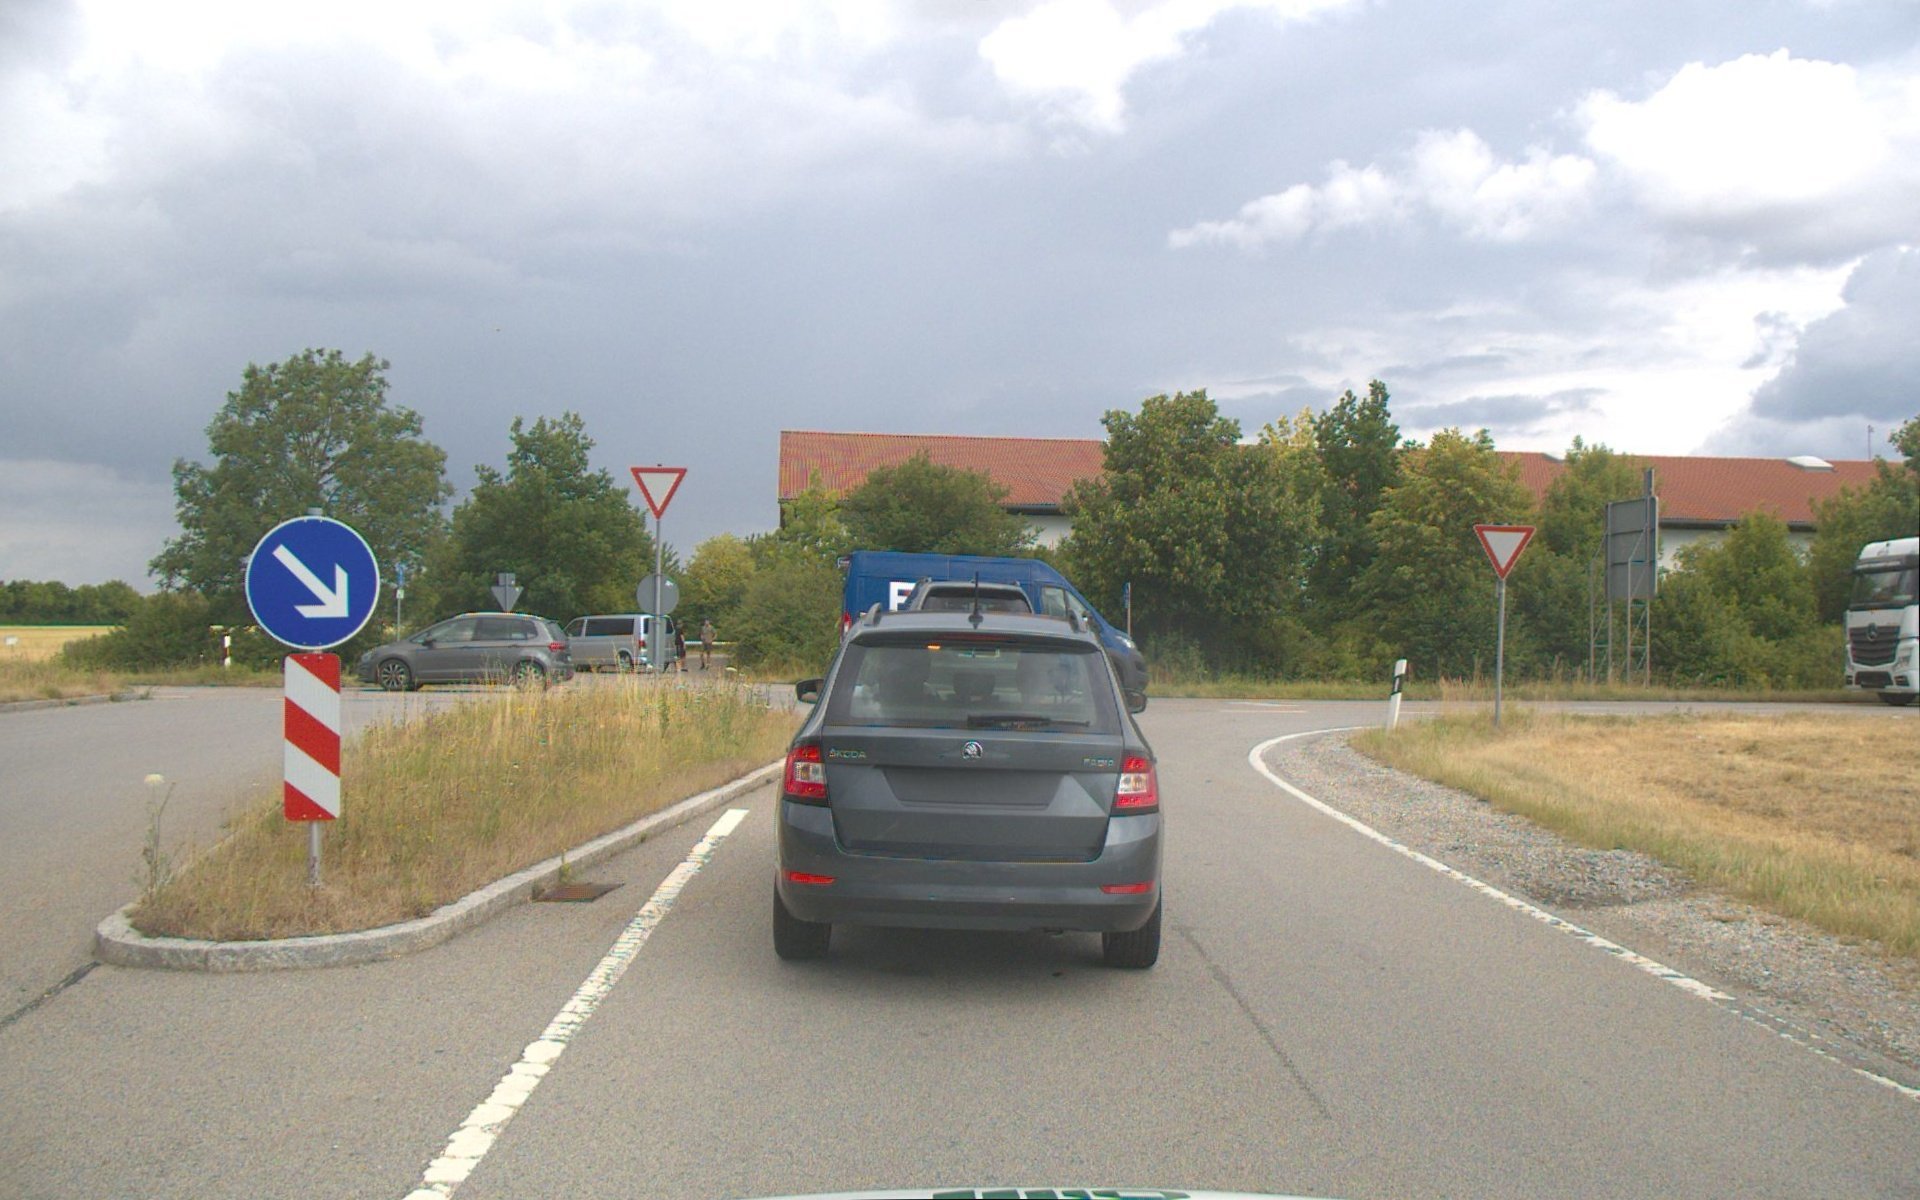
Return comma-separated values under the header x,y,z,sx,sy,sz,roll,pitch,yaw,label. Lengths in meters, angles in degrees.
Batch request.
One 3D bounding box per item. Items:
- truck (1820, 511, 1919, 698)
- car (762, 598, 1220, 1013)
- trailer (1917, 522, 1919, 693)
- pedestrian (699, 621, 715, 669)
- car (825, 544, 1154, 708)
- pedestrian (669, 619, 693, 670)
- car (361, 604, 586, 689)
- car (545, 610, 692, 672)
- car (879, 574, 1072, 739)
x,y,z,sx,sy,sz,roll,pitch,yaw,label
24.211,0.193,38.275,7.144,4.085,3.124,1,-2,-7,truck
0.049,0.744,7.838,1.642,1.488,3.706,1,0,-2,car
29.921,0.213,39.014,13.577,4.085,3.123,1,-2,-7,trailer
-9.153,1.628,59.882,0.572,1.712,0.565,0,0,-7,pedestrian
0.436,0.413,28.570,5.447,2.685,2.146,0,0,-8,car
-9.683,1.548,57.419,0.519,1.756,0.640,0,0,32,pedestrian
-9.922,0.926,34.027,4.129,1.629,1.997,-1,0,-6,car
-11.940,1.395,57.775,4.812,2.049,2.335,0,0,33,car
0.064,0.678,20.588,1.954,1.806,4.639,1,-1,-5,car
